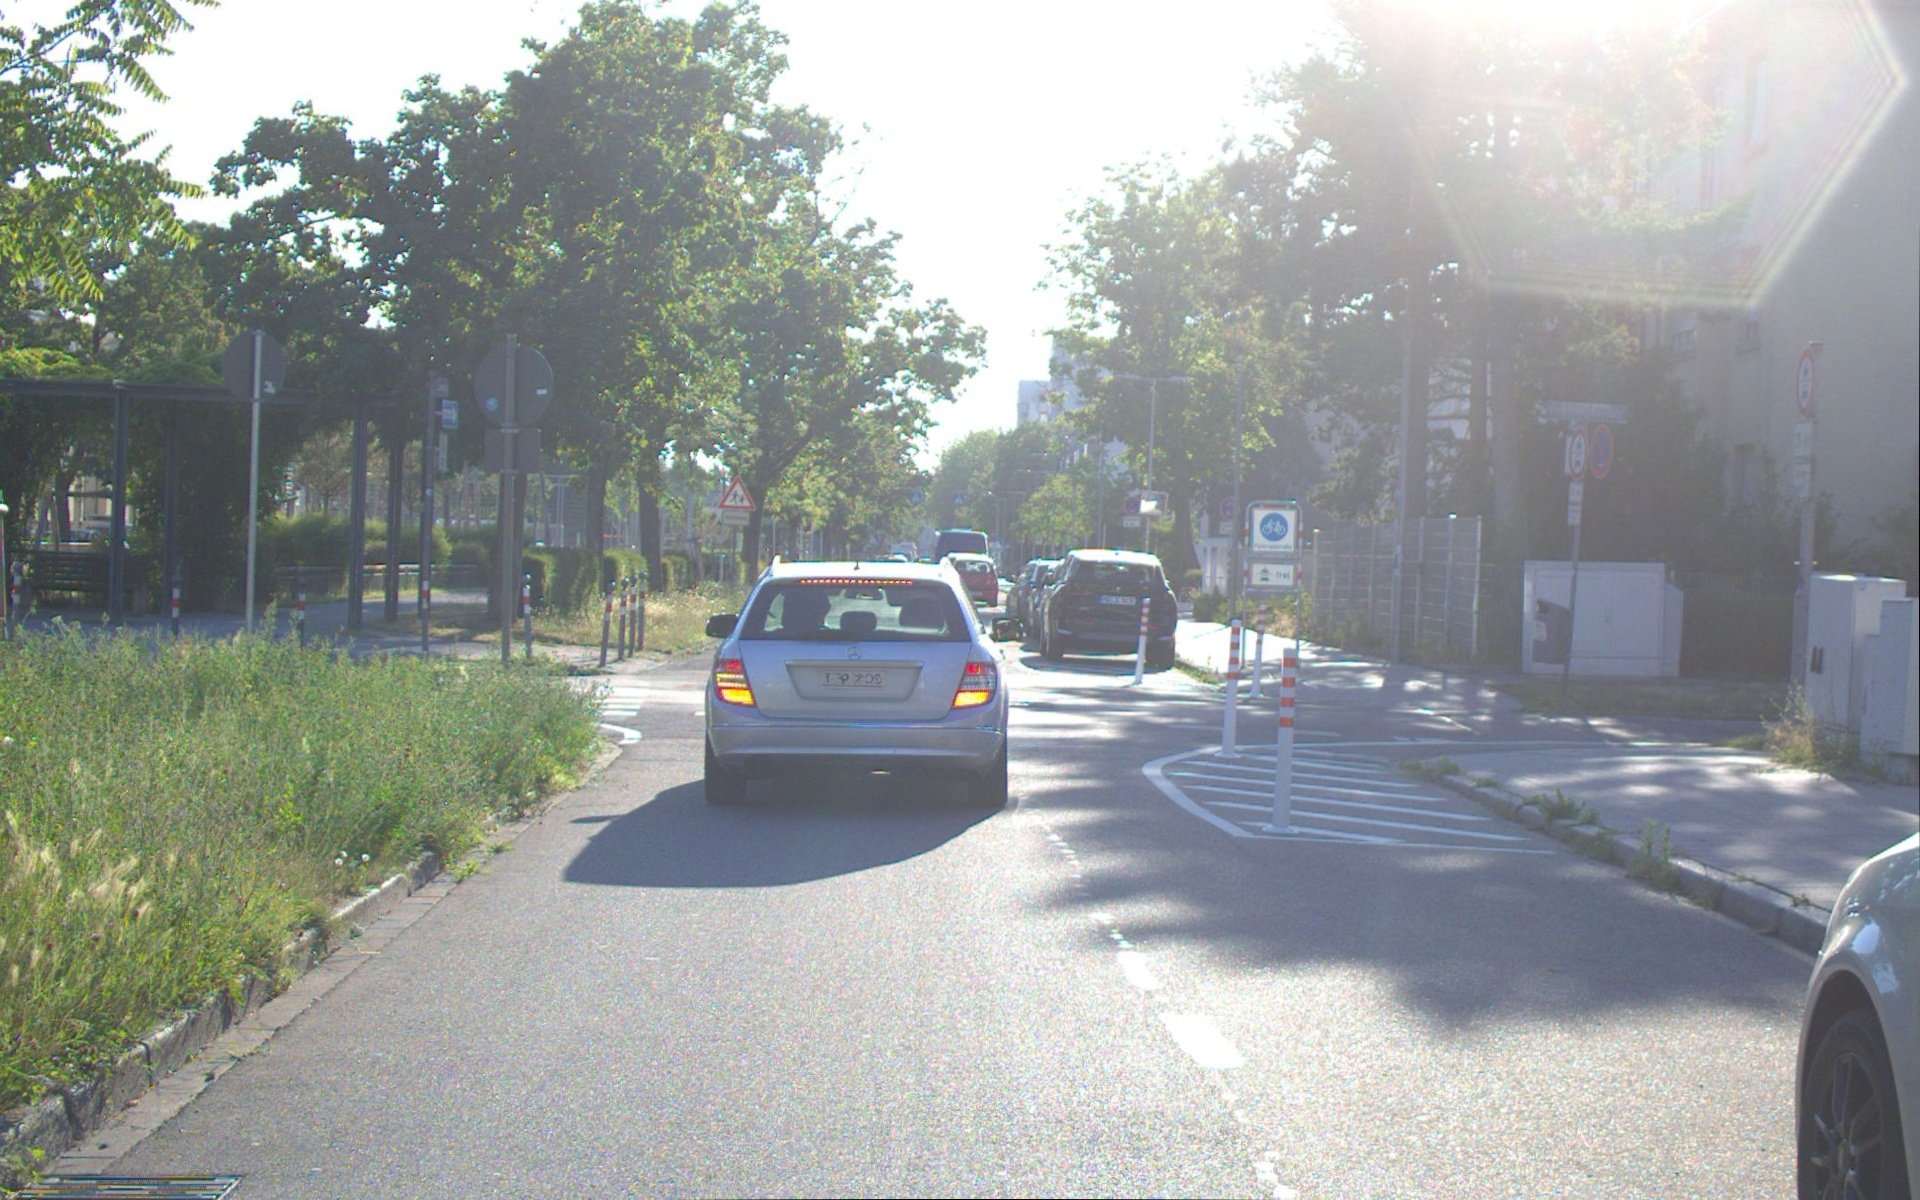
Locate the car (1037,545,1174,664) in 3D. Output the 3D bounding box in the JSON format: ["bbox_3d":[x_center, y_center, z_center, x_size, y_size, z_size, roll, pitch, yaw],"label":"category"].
[{"bbox_3d":[2.067,0.070,49.724,1.721,1.591,4.000,2,0,0],"label":"car"}]

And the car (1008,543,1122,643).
[{"bbox_3d":[1.767,-0.133,58.878,1.721,1.591,4.000,2,0,0],"label":"car"}]

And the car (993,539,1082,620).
[{"bbox_3d":[1.621,-0.443,73.161,1.721,1.591,4.000,2,0,0],"label":"car"}]

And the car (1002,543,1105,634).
[{"bbox_3d":[1.725,-0.227,64.503,1.721,1.591,4.000,2,0,0],"label":"car"}]

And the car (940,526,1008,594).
[{"bbox_3d":[0.422,-1.246,108.085,1.988,2.016,4.000,2,0,0],"label":"car"}]

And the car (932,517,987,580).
[{"bbox_3d":[-0.035,-1.868,126.135,1.861,2.185,5.070,2,0,0],"label":"car"}]

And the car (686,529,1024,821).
[{"bbox_3d":[-0.589,0.373,20.848,1.823,1.561,4.000,1,1,0],"label":"car"}]

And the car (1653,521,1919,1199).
[{"bbox_3d":[2.739,0.735,5.990,1.716,1.633,4.565,4,0,-4],"label":"car"}]
